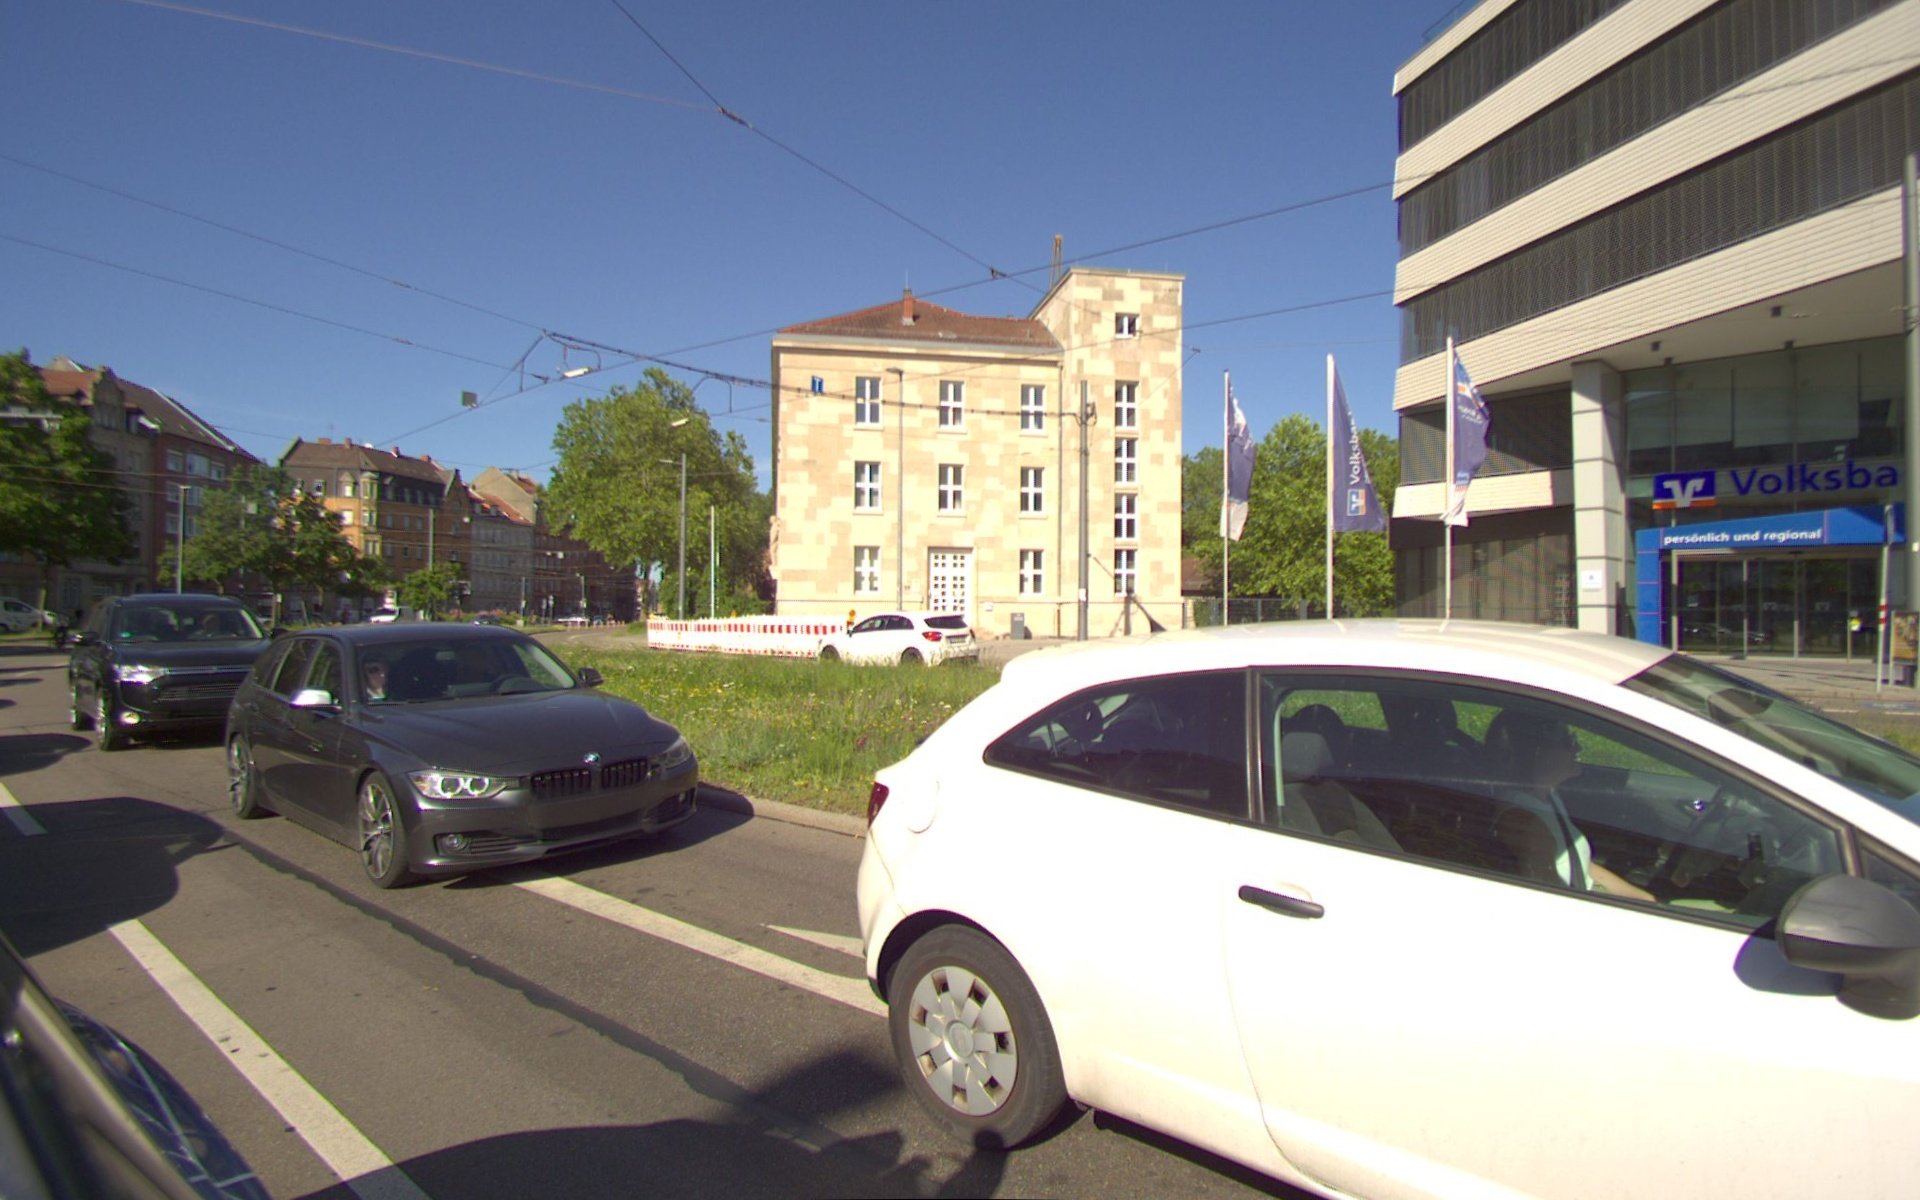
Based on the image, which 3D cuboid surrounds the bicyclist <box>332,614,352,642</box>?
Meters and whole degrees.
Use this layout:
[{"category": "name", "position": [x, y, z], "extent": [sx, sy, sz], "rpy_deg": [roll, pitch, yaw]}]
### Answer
[{"category": "bicyclist", "position": [-45.028, 2.027, 73.726], "extent": [0.836, 2.029, 1.198], "rpy_deg": [0, -1, -7]}]

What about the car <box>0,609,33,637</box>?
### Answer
[{"category": "car", "position": [-48.767, 1.144, 50.392], "extent": [3.768, 1.390, 1.602], "rpy_deg": [2, -2, -41]}]

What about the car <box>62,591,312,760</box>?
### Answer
[{"category": "car", "position": [-9.381, 0.771, 12.139], "extent": [1.817, 1.658, 4.400], "rpy_deg": [-1, -1, -45]}]

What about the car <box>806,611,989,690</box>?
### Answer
[{"category": "car", "position": [-1.514, 1.109, 23.355], "extent": [4.180, 1.658, 1.800], "rpy_deg": [-2, -2, 42]}]

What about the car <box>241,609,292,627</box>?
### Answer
[{"category": "car", "position": [-77.281, 2.032, 112.883], "extent": [4.276, 1.896, 1.846], "rpy_deg": [1, -1, -15]}]

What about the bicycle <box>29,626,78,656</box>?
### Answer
[{"category": "bicycle", "position": [-37.070, 1.660, 41.419], "extent": [0.657, 1.206, 2.161], "rpy_deg": [0, -1, -17]}]

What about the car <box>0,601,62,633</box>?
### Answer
[{"category": "car", "position": [-49.932, 0.884, 52.798], "extent": [4.514, 1.680, 1.601], "rpy_deg": [2, -2, -43]}]

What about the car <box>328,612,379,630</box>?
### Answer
[{"category": "car", "position": [-67.661, 2.309, 112.913], "extent": [4.513, 1.889, 2.006], "rpy_deg": [-1, 0, -16]}]

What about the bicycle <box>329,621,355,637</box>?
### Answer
[{"category": "bicycle", "position": [-45.022, 2.100, 73.745], "extent": [0.752, 1.153, 2.287], "rpy_deg": [0, -1, -9]}]

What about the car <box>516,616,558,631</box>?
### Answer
[{"category": "car", "position": [-48.196, 2.706, 115.414], "extent": [4.021, 1.669, 1.763], "rpy_deg": [1, -1, 7]}]

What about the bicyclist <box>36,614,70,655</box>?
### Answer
[{"category": "bicyclist", "position": [-37.032, 1.412, 41.336], "extent": [0.657, 1.641, 0.974], "rpy_deg": [0, -1, -17]}]

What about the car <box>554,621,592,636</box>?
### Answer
[{"category": "car", "position": [-45.898, 3.388, 120.047], "extent": [4.001, 1.669, 1.772], "rpy_deg": [1, -1, -16]}]

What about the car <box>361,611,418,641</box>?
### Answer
[{"category": "car", "position": [-42.244, 1.912, 75.033], "extent": [1.953, 2.101, 4.720], "rpy_deg": [1, -1, -6]}]

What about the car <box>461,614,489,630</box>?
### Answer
[{"category": "car", "position": [-47.448, 2.129, 99.075], "extent": [1.809, 1.483, 4.728], "rpy_deg": [1, -1, -19]}]

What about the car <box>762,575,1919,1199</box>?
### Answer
[{"category": "car", "position": [1.480, 0.695, 2.489], "extent": [4.020, 1.452, 1.714], "rpy_deg": [0, 2, 40]}]

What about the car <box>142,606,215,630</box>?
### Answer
[{"category": "car", "position": [-53.934, 1.265, 69.880], "extent": [3.771, 1.603, 1.601], "rpy_deg": [2, -2, -44]}]

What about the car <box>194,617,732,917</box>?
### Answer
[{"category": "car", "position": [-3.599, 0.827, 6.888], "extent": [4.424, 1.377, 1.719], "rpy_deg": [-1, 0, 41]}]
